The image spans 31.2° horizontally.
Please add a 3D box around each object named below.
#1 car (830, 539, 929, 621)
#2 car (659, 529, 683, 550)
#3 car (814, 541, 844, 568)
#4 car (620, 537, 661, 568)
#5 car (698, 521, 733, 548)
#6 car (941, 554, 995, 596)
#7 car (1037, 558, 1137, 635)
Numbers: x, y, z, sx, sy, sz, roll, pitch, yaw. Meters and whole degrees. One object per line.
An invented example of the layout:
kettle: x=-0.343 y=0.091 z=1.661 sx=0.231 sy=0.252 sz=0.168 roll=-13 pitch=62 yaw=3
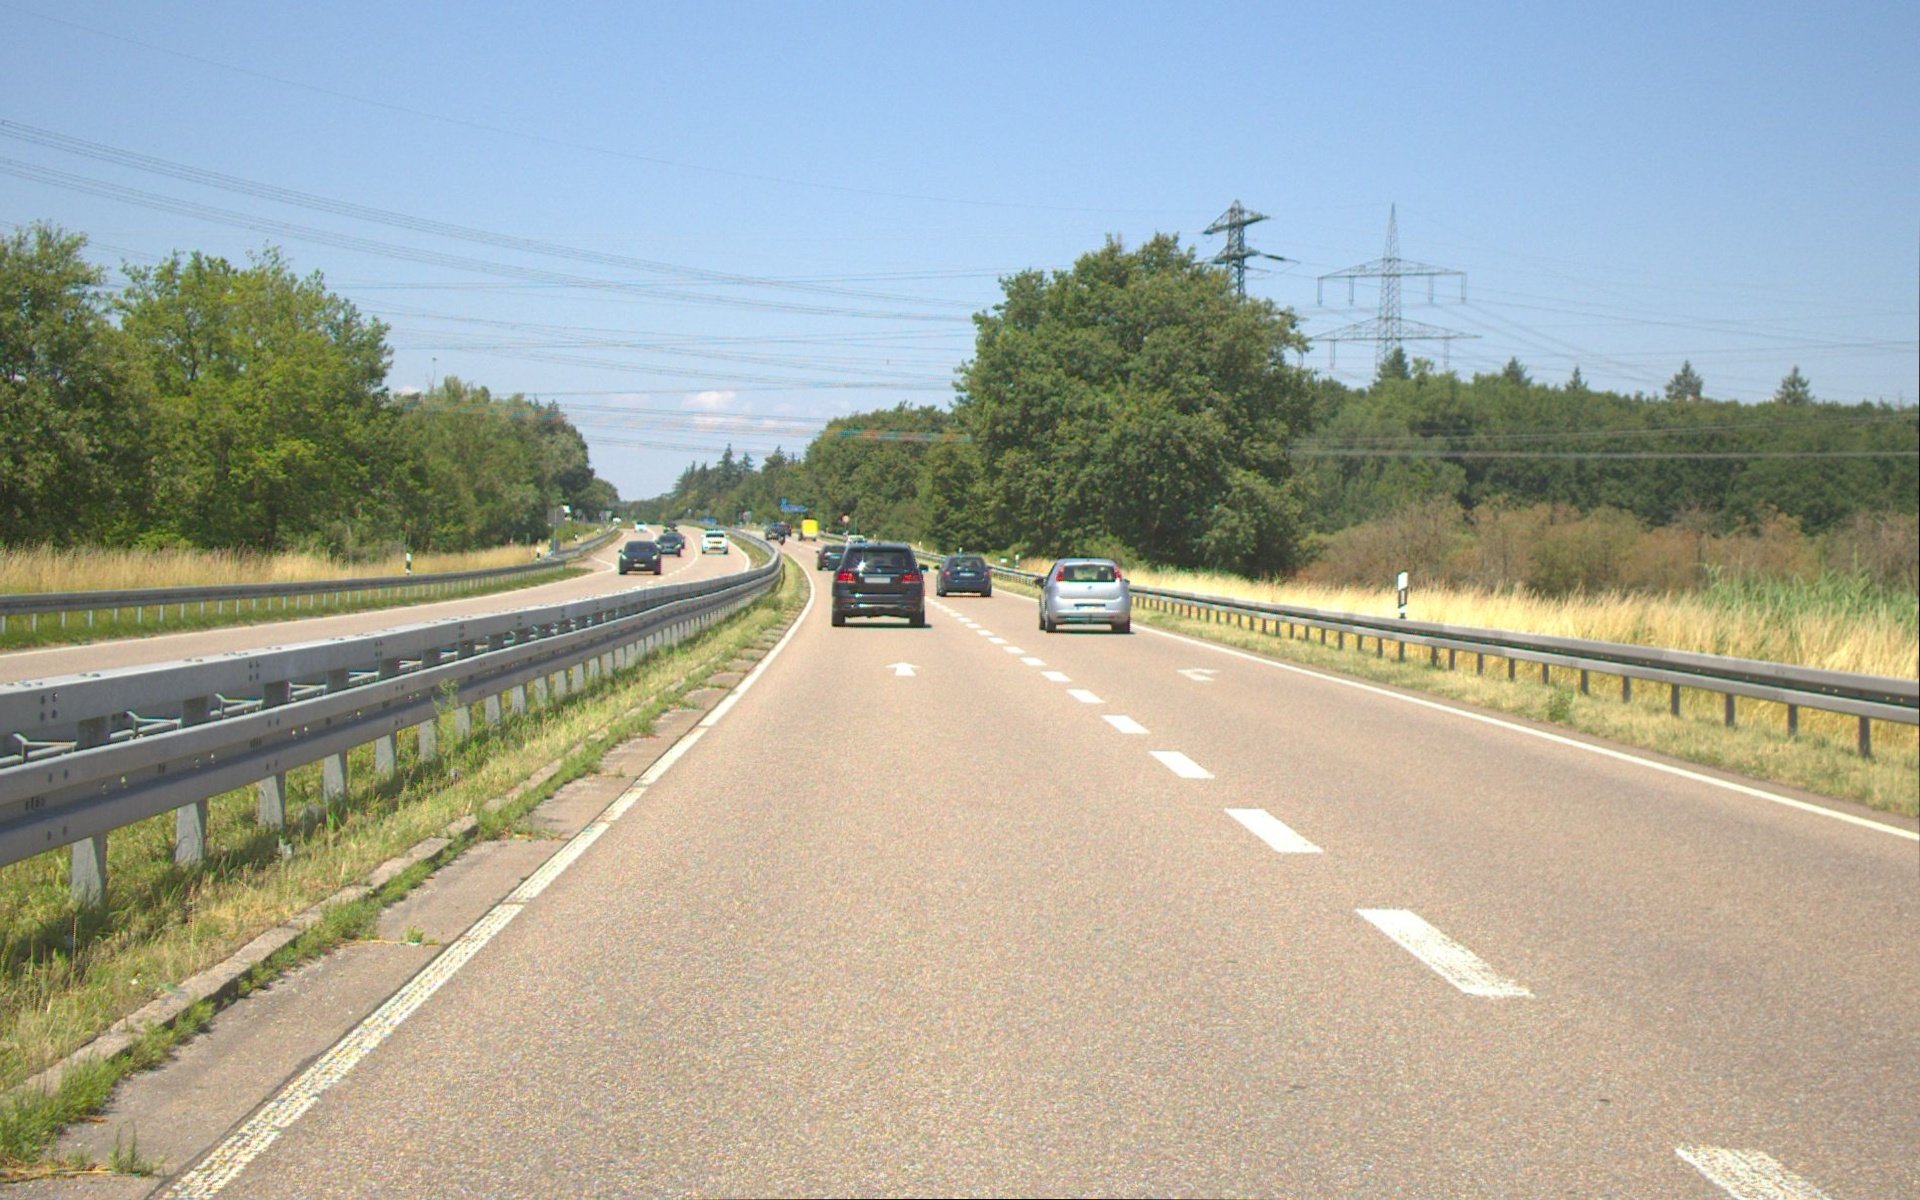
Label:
car: x=-1.653 y=-0.428 z=71.725 sx=1.993 sy=1.649 sz=4.000 roll=1 pitch=1 yaw=-1
car: x=-20.792 y=-4.374 z=247.572 sx=1.614 sy=1.470 sz=3.066 roll=1 pitch=1 yaw=-4
car: x=-7.228 y=-2.510 z=189.458 sx=1.514 sy=1.470 sz=3.066 roll=1 pitch=1 yaw=-4
car: x=-15.463 y=-2.281 z=166.371 sx=1.831 sy=1.470 sz=3.685 roll=0 pitch=1 yaw=-3
car: x=-13.763 y=-3.672 z=193.681 sx=1.873 sy=1.470 sz=3.685 roll=1 pitch=1 yaw=-2
car: x=0.265 y=-0.879 z=118.866 sx=1.819 sy=1.409 sz=4.000 roll=1 pitch=1 yaw=0
car: x=2.515 y=-0.099 z=69.070 sx=1.779 sy=1.474 sz=4.315 roll=1 pitch=1 yaw=-1
